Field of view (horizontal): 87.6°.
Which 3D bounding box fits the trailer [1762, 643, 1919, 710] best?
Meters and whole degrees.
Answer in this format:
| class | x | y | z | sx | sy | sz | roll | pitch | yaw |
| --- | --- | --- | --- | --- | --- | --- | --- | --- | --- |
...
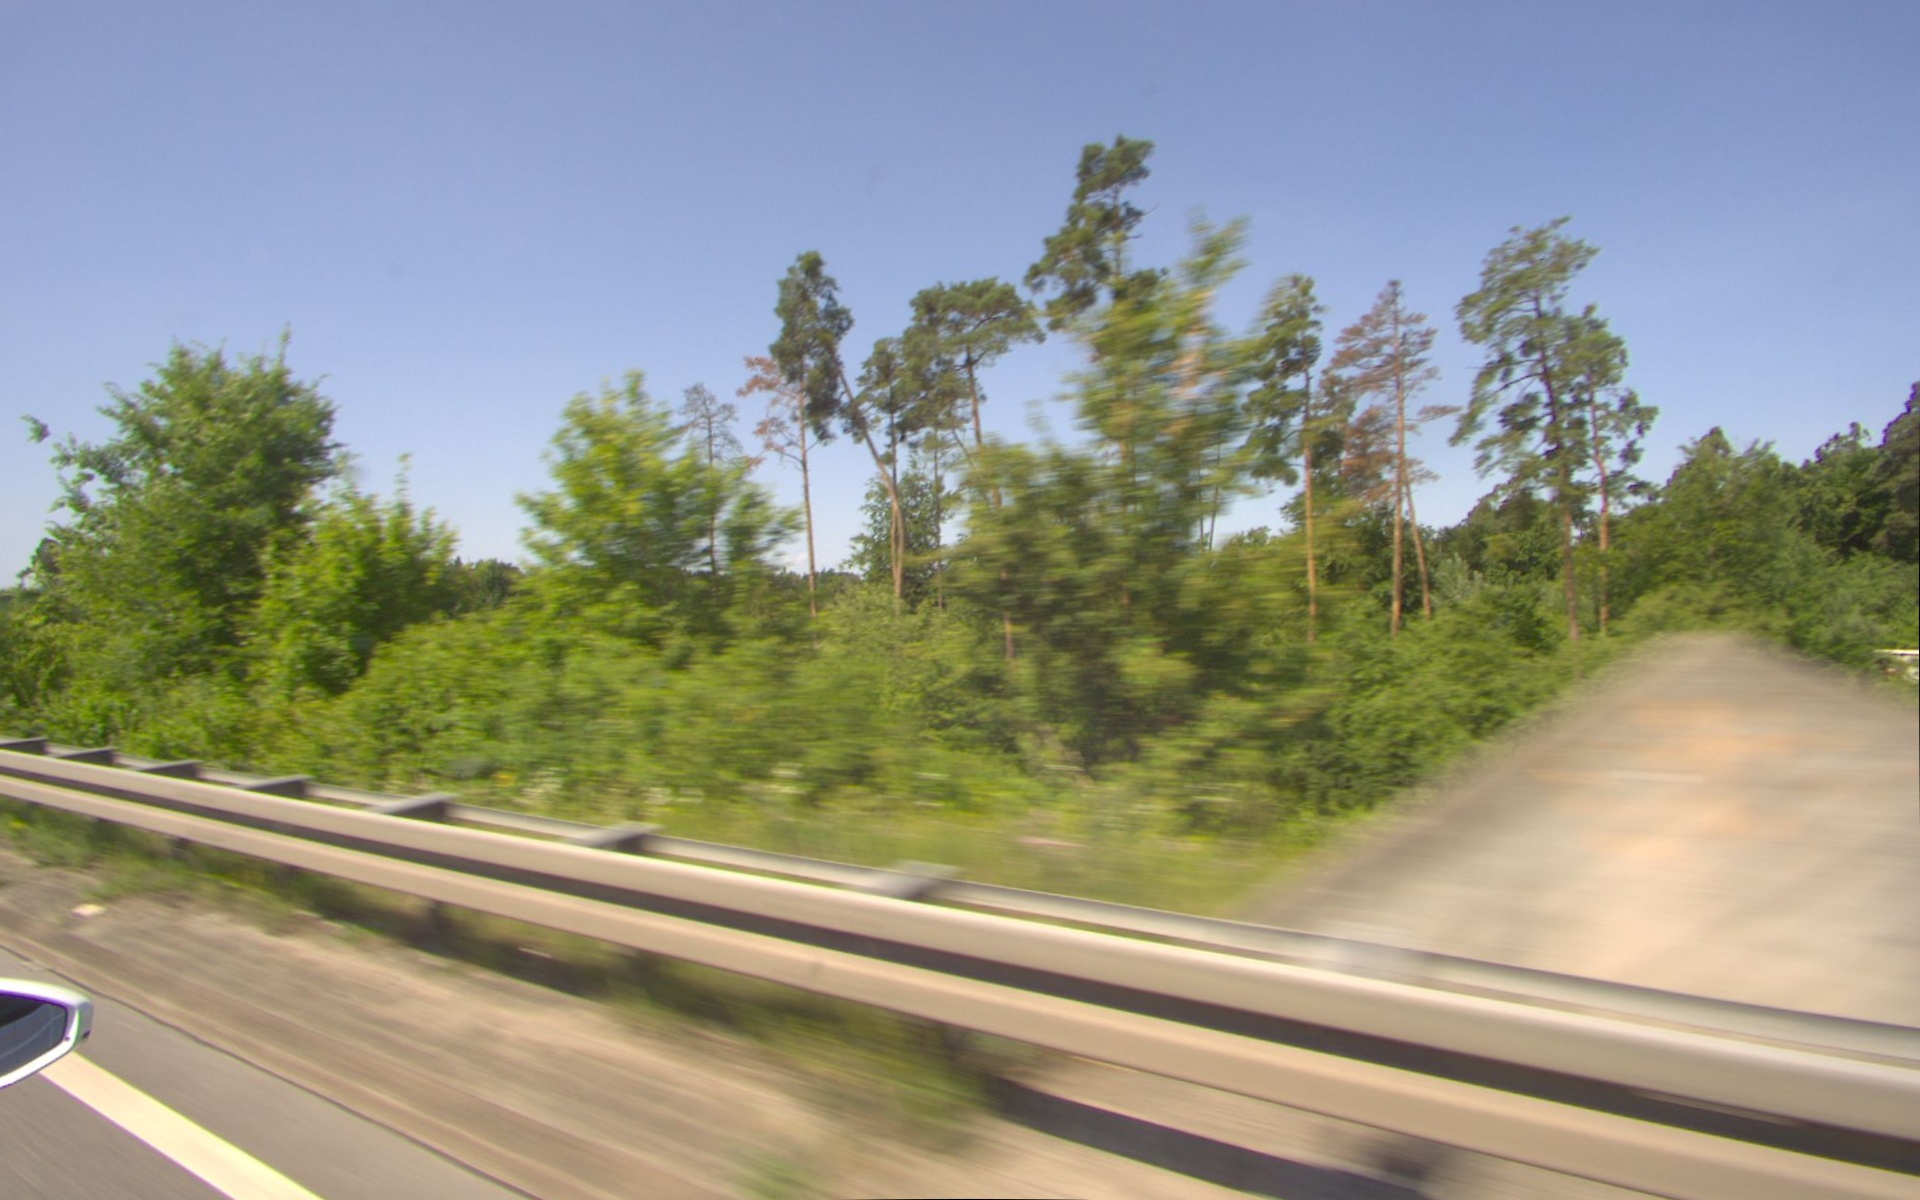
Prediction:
| class | x | y | z | sx | sy | sz | roll | pitch | yaw |
| --- | --- | --- | --- | --- | --- | --- | --- | --- | --- |
| trailer | 60.944 | 5.100 | 66.667 | 2.219 | 3.704 | 13.144 | 2 | 0 | -12 |
